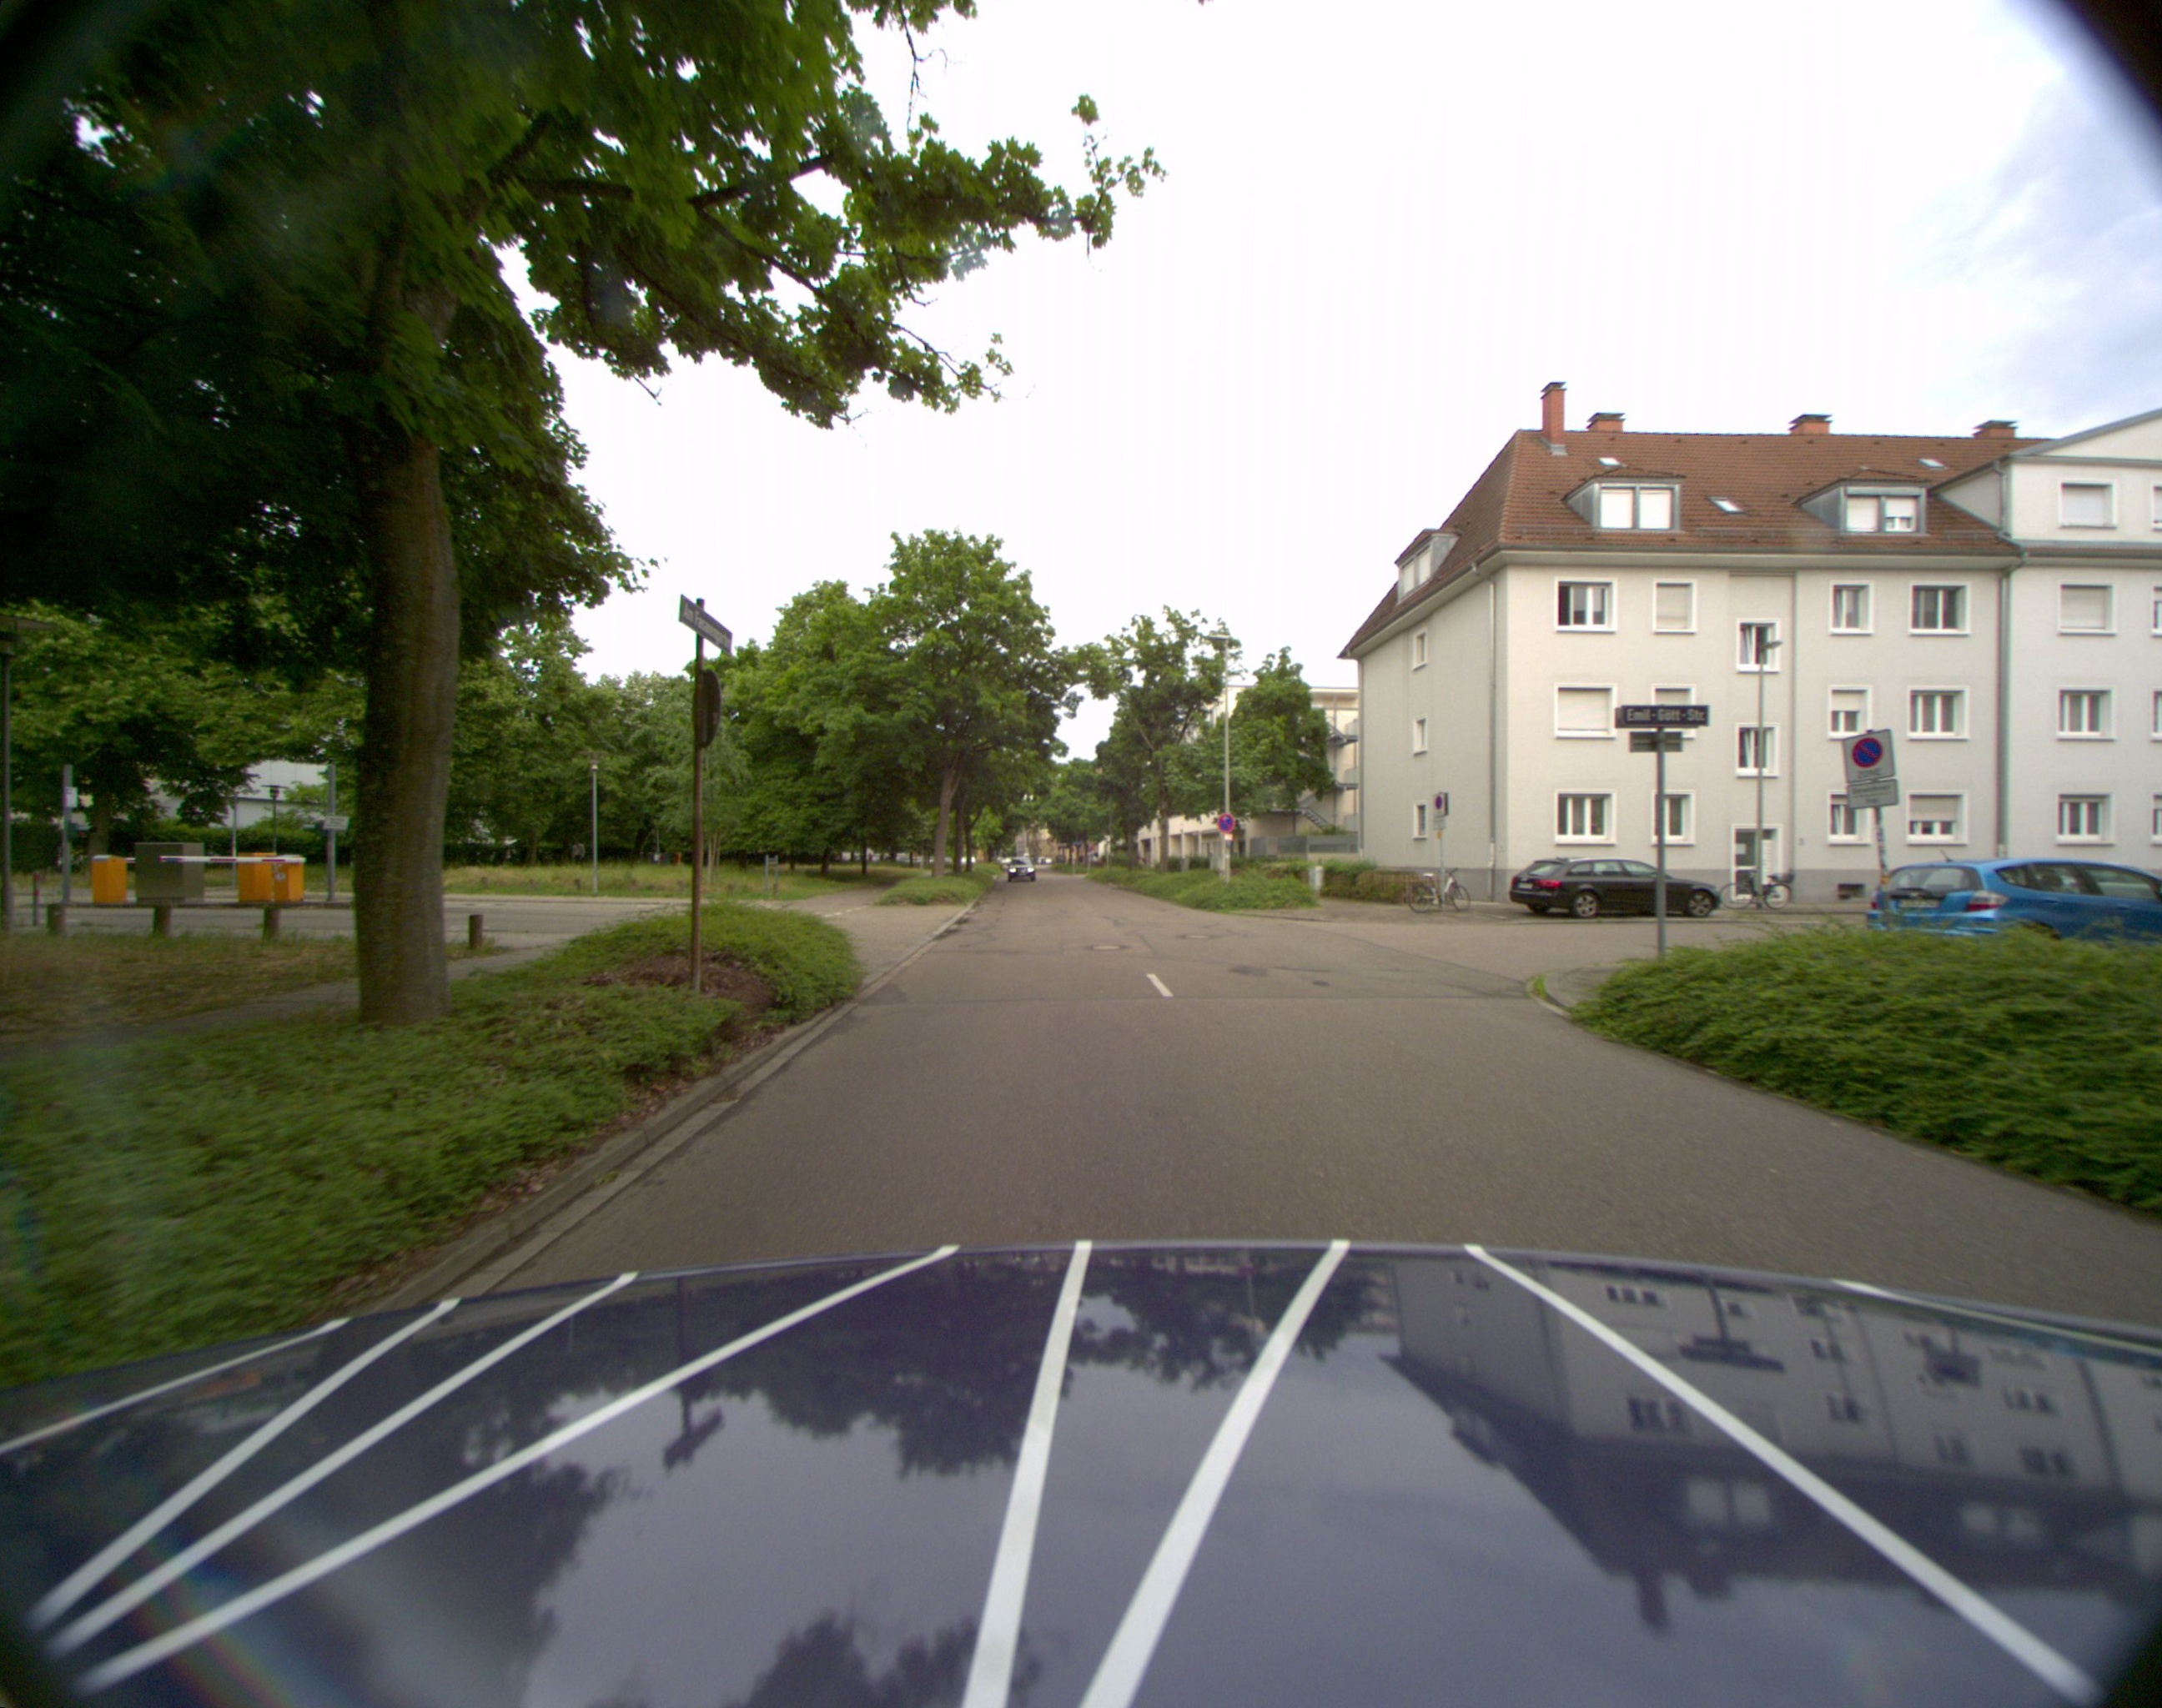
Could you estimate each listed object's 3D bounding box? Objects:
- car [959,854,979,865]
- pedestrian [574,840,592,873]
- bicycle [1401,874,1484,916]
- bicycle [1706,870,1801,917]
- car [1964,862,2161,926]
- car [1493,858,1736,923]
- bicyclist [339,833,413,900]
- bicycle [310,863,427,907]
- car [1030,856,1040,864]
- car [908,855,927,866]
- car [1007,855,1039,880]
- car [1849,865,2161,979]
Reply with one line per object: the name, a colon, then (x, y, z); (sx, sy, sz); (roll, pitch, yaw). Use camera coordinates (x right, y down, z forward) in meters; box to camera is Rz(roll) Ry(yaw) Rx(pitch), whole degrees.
car: (-20.309, 1.033, 137.603); (3.315, 1.913, 1.809); (-1, 0, -13)
pedestrian: (-27.097, 0.114, 41.352); (0.543, 1.787, 0.573); (1, 0, 8)
bicycle: (9.370, 1.052, 19.701); (1.887, 0.998, 0.569); (-2, 2, -2)
bicycle: (18.101, 1.053, 20.490); (1.894, 1.194, 0.750); (0, 2, -2)
car: (24.831, 0.950, 18.700); (4.429, 1.454, 1.737); (0, 1, -4)
car: (12.887, 0.853, 18.525); (4.724, 1.454, 1.865); (0, 1, -4)
bicyclist: (-17.882, 0.309, 19.306); (0.922, 1.635, 1.020); (0, 0, -1)
bicycle: (-18.080, 0.786, 19.331); (2.140, 1.068, 0.869); (0, 0, -1)
car: (-10.927, 1.420, 179.524); (1.786, 1.754, 3.658); (1, 0, -11)
car: (-29.224, 1.179, 135.952); (3.315, 1.913, 1.809); (-1, 0, -13)
car: (-3.907, 0.900, 52.185); (1.999, 1.478, 4.537); (-1, 2, -2)
car: (13.593, 0.909, 10.662); (3.955, 1.453, 1.736); (0, -2, -3)
